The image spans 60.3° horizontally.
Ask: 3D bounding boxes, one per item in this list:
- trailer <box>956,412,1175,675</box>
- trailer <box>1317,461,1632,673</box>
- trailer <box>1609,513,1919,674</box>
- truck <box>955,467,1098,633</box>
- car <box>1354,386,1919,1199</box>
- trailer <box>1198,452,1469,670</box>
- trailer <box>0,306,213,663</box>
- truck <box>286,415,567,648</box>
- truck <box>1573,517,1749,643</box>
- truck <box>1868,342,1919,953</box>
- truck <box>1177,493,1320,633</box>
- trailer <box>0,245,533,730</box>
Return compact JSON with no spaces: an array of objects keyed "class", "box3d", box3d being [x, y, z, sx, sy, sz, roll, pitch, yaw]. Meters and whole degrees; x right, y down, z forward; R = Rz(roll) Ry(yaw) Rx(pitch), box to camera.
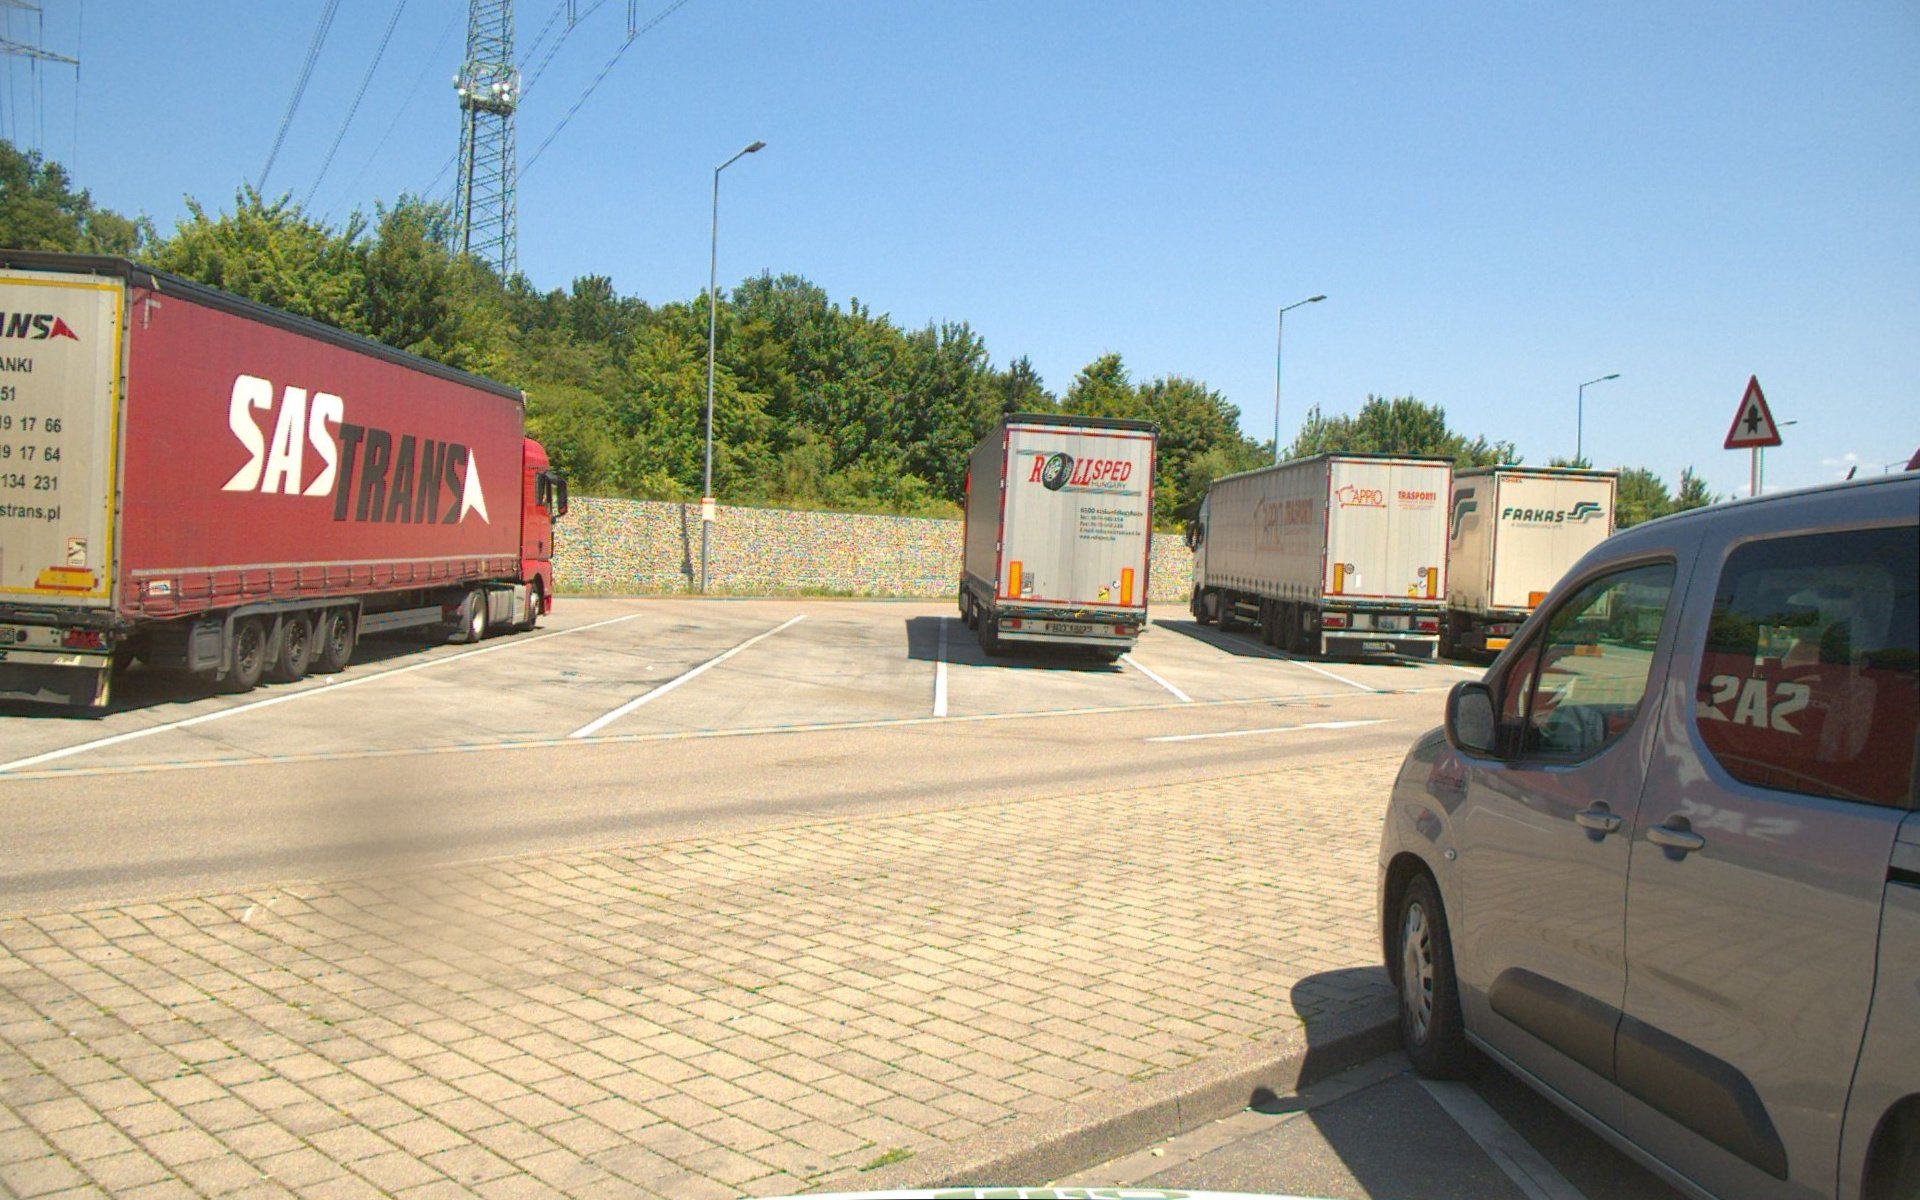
[{"class":"trailer","box3d":[1.664,-1.196,33.632,3.070,4.058,14.393,3,2,-1]},{"class":"trailer","box3d":[11.739,-0.938,39.945,2.754,4.058,14.395,3,2,-1]},{"class":"trailer","box3d":[21.850,-0.395,44.494,2.754,3.568,14.395,3,2,-1]},{"class":"truck","box3d":[1.507,-1.241,40.522,3.041,3.628,5.900,3,2,-1]},{"class":"car","box3d":[2.443,0.602,3.846,1.832,1.896,4.174,3,1,-2]},{"class":"trailer","box3d":[8.177,-1.032,38.840,2.754,4.058,14.395,3,2,-1]},{"class":"trailer","box3d":[-12.548,-1.336,17.704,2.739,4.155,14.131,3,2,-1]},{"class":"truck","box3d":[-8.786,-1.151,27.997,2.793,3.385,5.900,3,2,-1]},{"class":"truck","box3d":[21.773,-0.700,51.724,2.746,3.582,5.900,3,2,-1]},{"class":"truck","box3d":[5.004,0.198,4.969,1.937,2.668,5.307,1,0,4]},{"class":"truck","box3d":[8.060,-1.095,46.940,2.804,3.582,5.900,3,2,-1]},{"class":"trailer","box3d":[-8.721,-1.291,21.426,2.735,4.155,14.131,3,2,-1]}]
